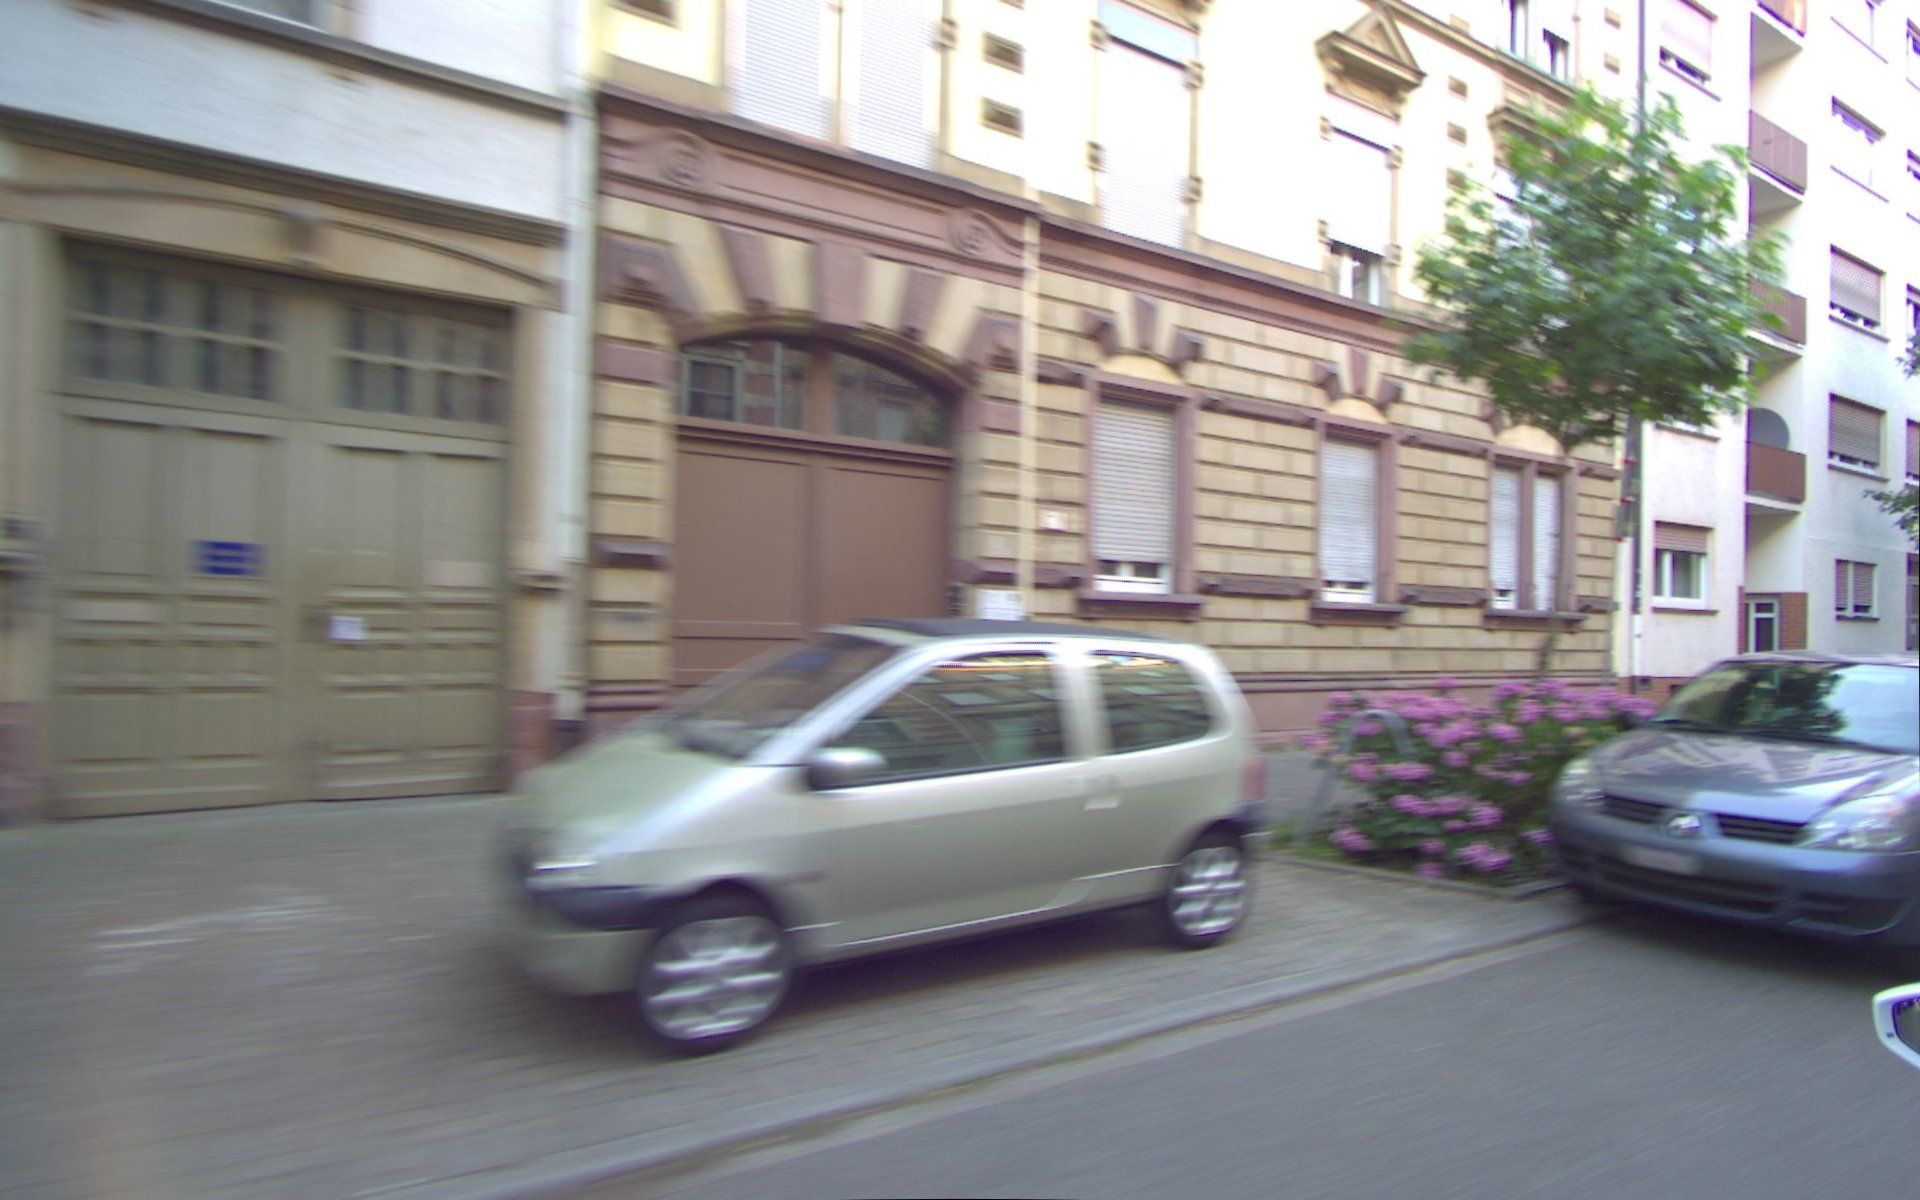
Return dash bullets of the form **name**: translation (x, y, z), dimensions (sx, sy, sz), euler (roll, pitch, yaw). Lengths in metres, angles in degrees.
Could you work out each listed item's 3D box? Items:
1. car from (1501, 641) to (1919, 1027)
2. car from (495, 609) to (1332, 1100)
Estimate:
- **car**: translation (4.760, 0.970, 5.453), dimensions (3.710, 1.438, 1.572), euler (2, -2, -31)
- **car**: translation (-0.115, 0.830, 4.638), dimensions (3.525, 1.456, 1.579), euler (2, 0, -31)
